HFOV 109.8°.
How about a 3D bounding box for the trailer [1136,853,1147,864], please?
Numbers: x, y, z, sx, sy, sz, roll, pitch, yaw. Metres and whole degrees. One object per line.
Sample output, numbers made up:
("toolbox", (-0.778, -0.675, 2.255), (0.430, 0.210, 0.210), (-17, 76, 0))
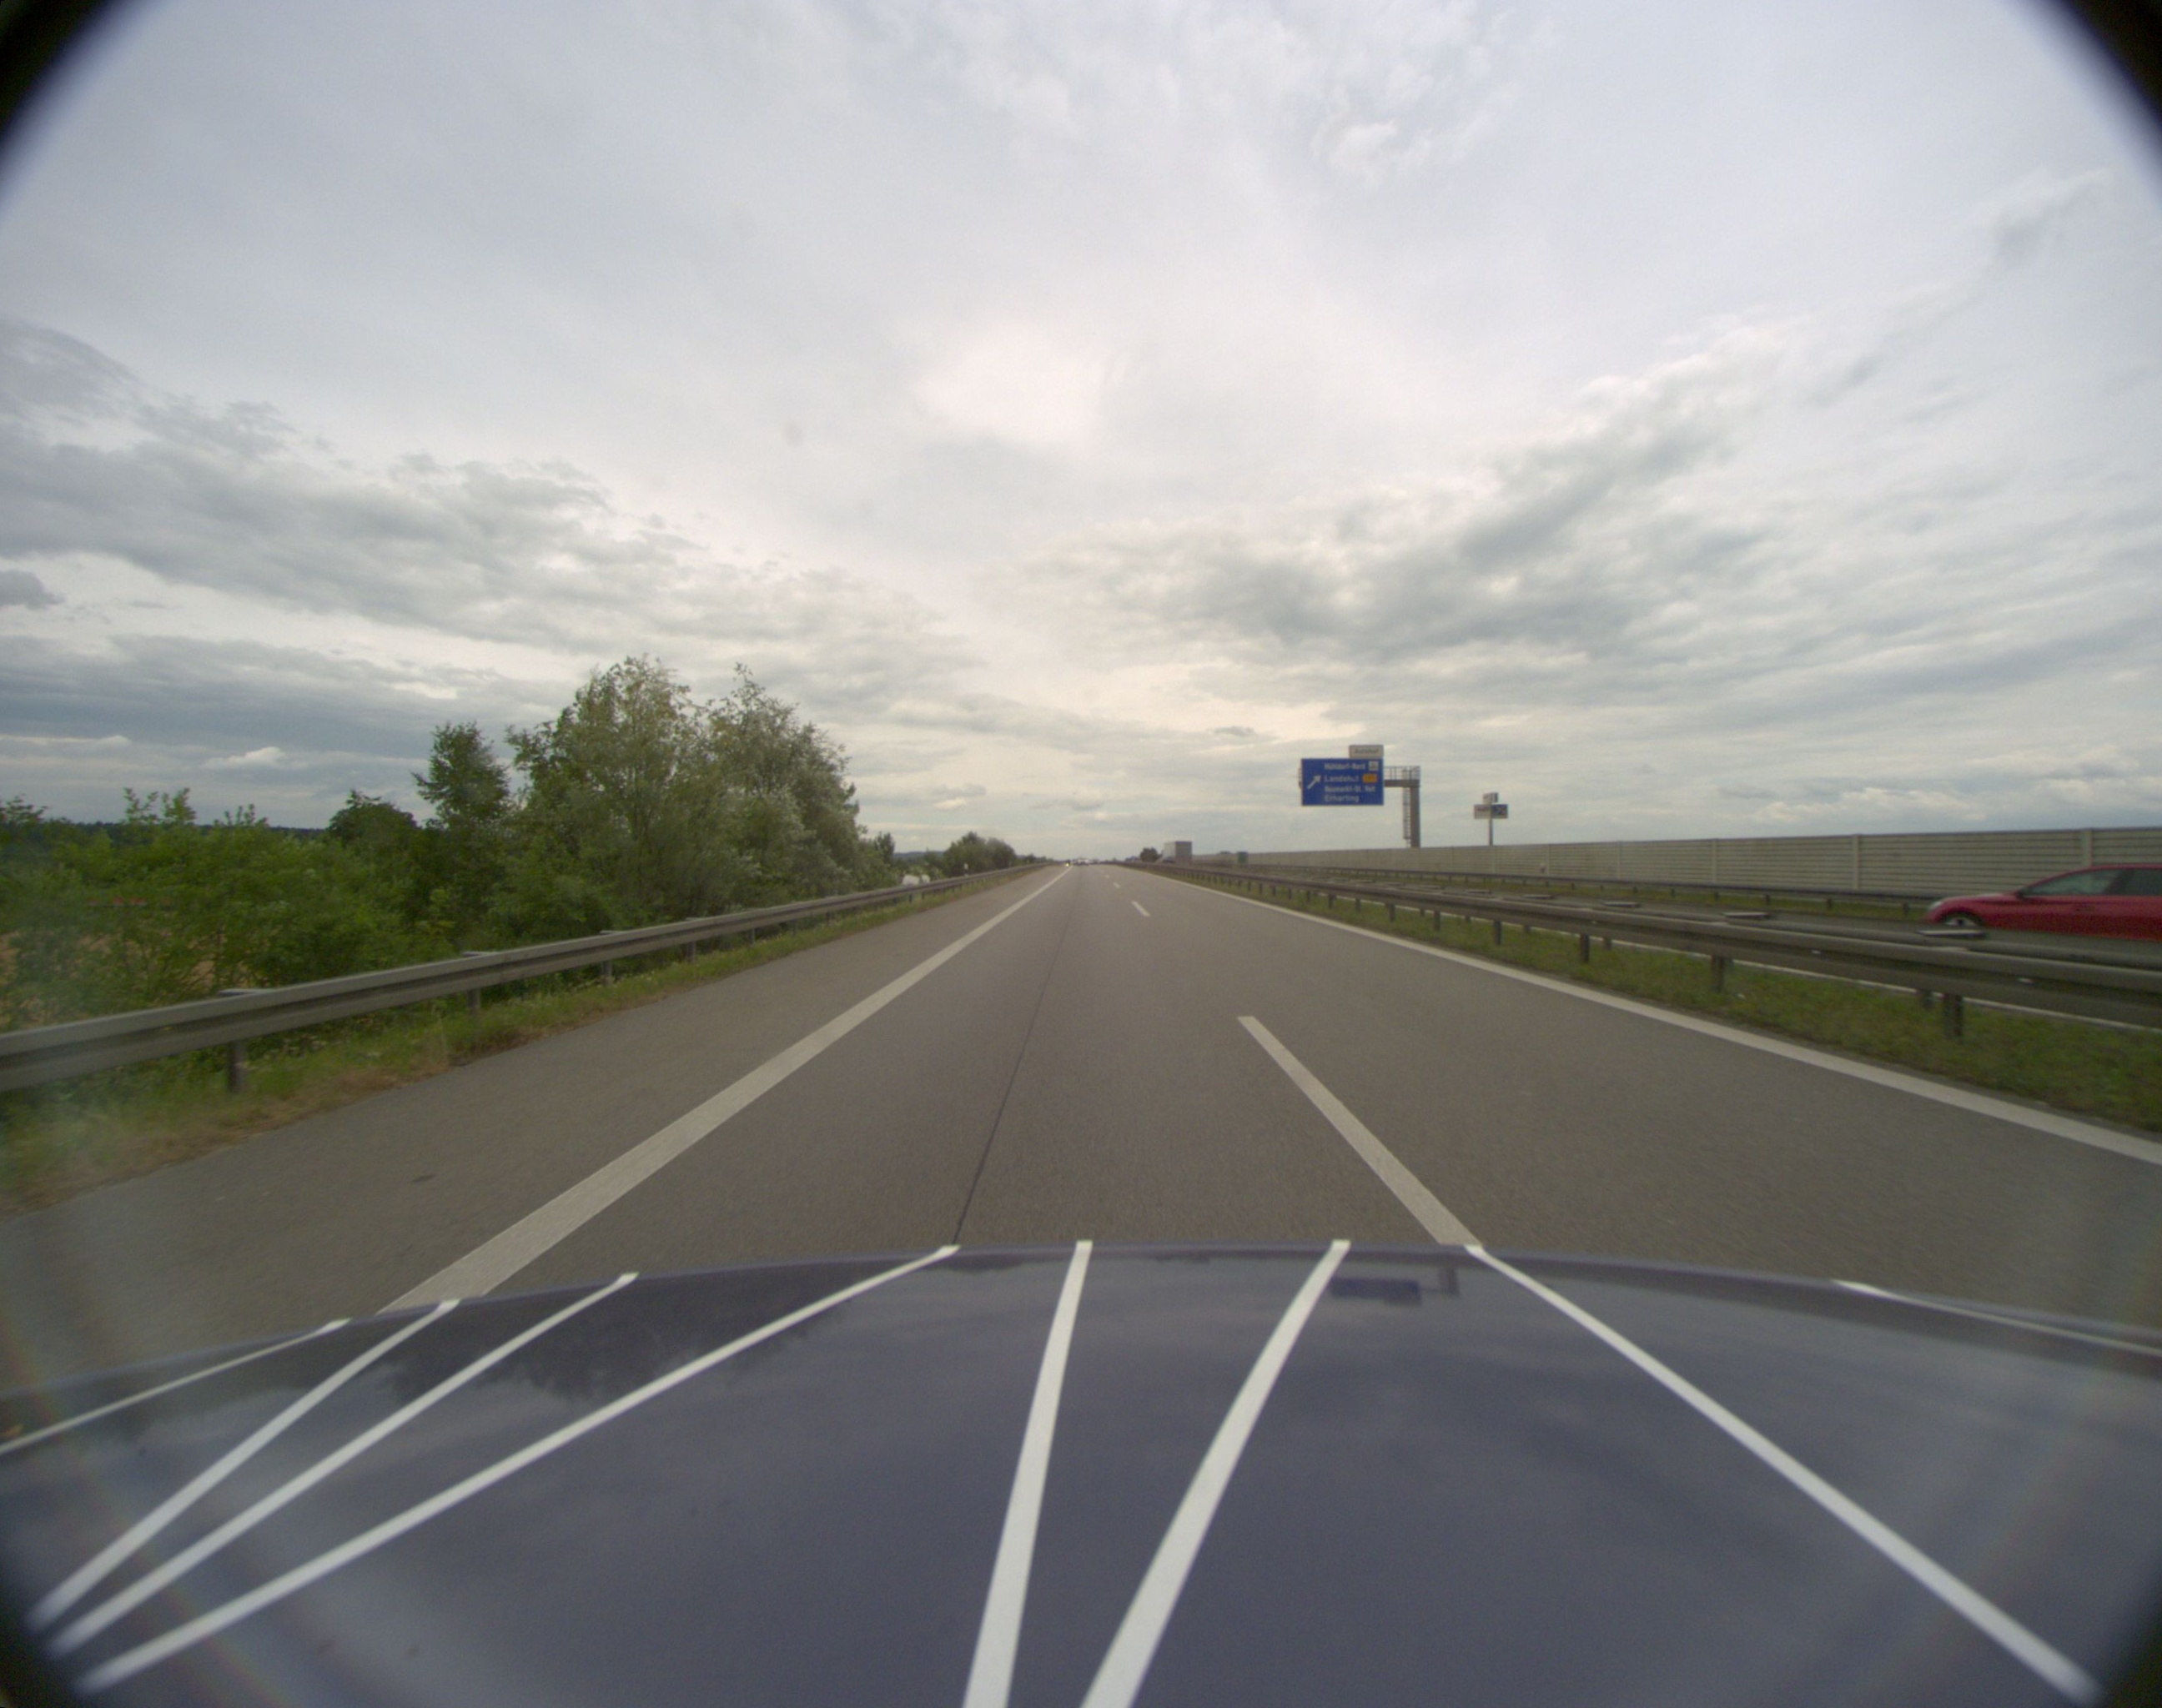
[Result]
("trailer", (12.187, 0.906, 153.785), (1.819, 1.836, 3.863), (-6, 0, 0))

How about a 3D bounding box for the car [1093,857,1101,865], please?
("car", (3.715, 1.659, 174.846), (1.850, 1.664, 4.200), (1, -1, 0))

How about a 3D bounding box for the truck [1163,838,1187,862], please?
("truck", (15.882, -0.644, 128.606), (3.117, 3.991, 7.323), (1, 0, 0))

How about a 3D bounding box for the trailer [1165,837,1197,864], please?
("trailer", (15.883, -0.592, 121.861), (3.187, 4.052, 14.023), (1, 0, 0))

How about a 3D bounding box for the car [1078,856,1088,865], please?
("car", (0.344, 1.224, 139.861), (1.850, 1.664, 4.200), (1, -1, 0))

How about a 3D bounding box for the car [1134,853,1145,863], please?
("car", (12.207, 0.891, 157.812), (1.819, 1.836, 4.180), (-6, 0, 0))

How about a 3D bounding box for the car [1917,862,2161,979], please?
("car", (14.143, 0.838, 9.609), (1.822, 1.395, 4.876), (0, 0, 1))

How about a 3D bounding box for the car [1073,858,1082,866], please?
("car", (-0.917, 1.896, 174.640), (1.851, 1.849, 4.000), (1, -1, -3))
